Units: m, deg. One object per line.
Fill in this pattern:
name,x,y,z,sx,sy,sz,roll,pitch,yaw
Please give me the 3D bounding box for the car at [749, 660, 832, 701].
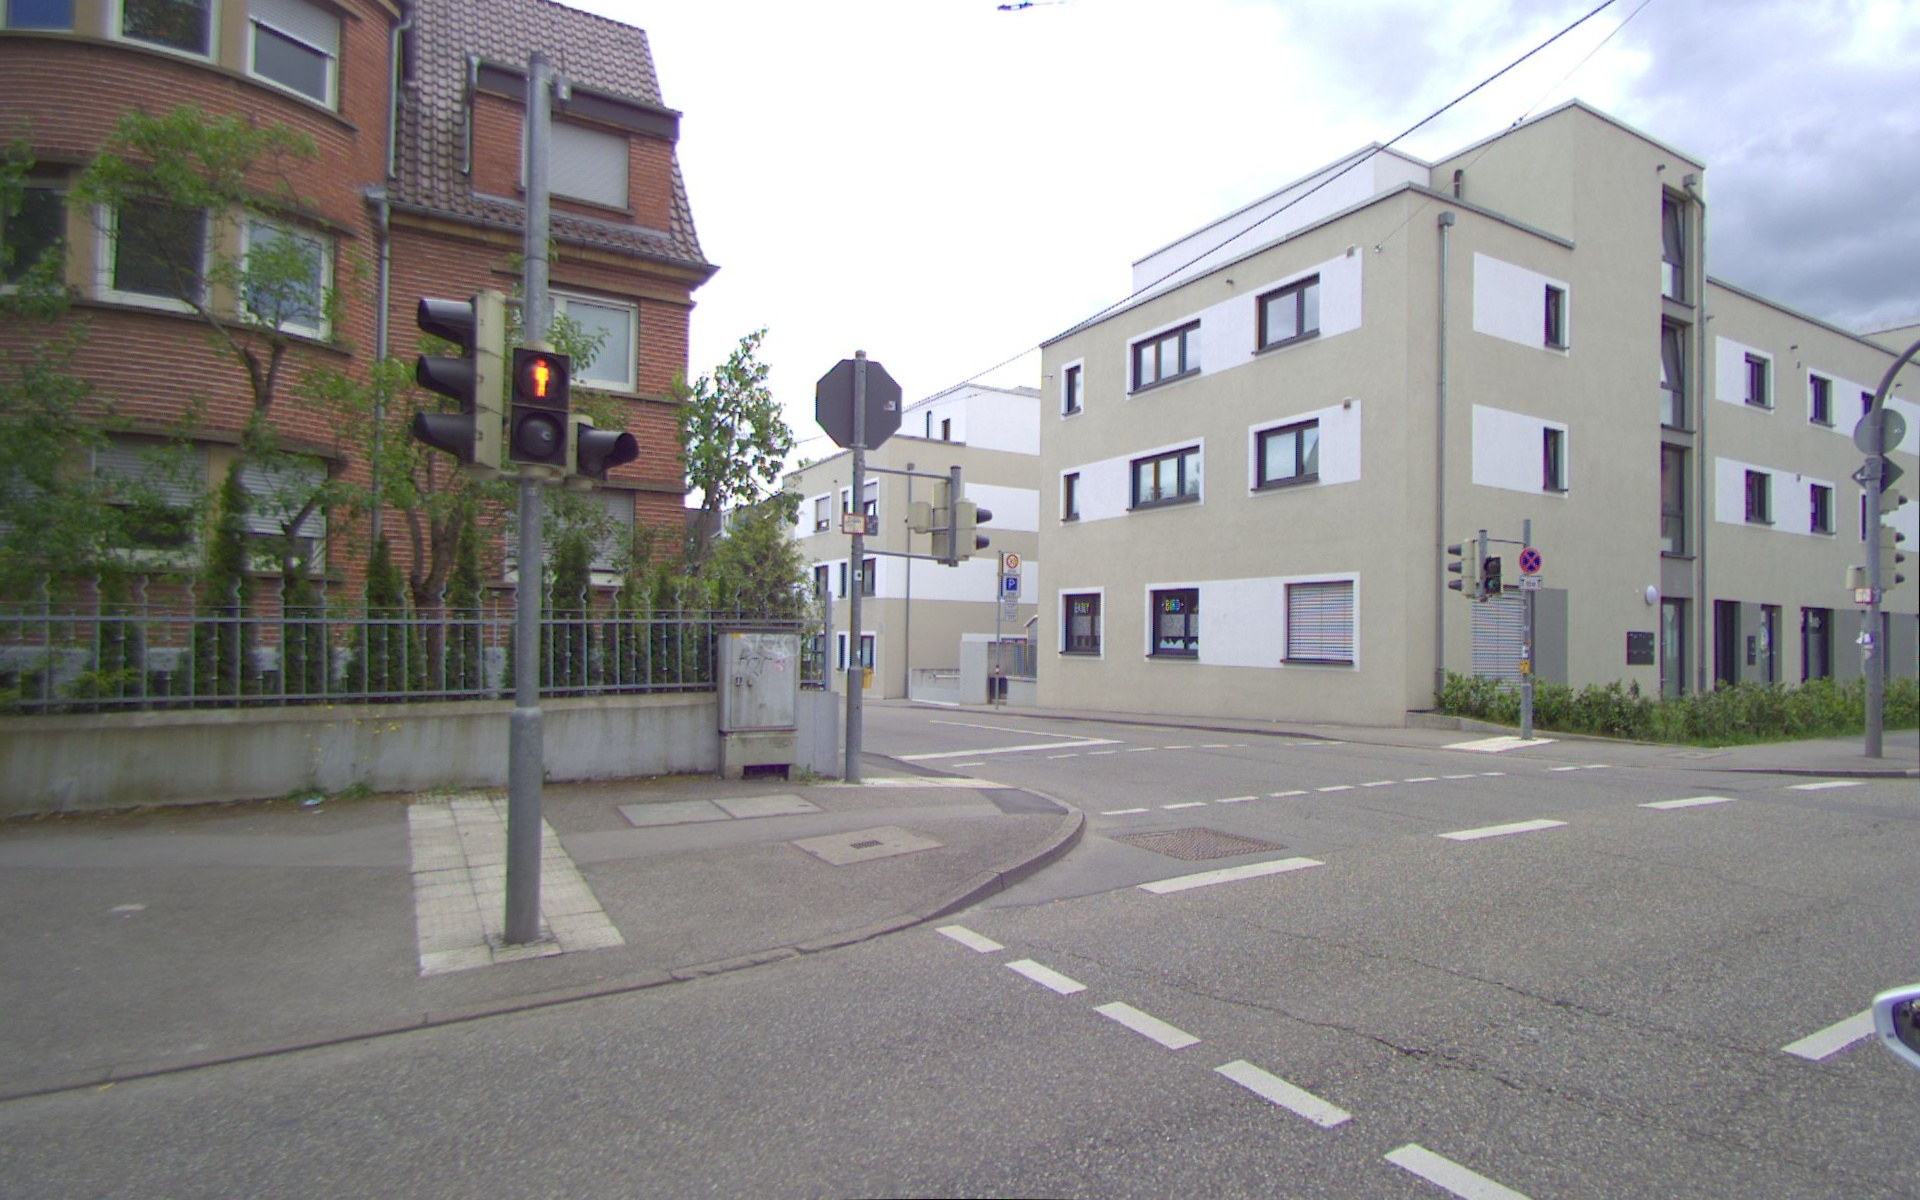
car,-6.404,2.997,37.656,1.729,1.440,3.968,3,-4,-31
